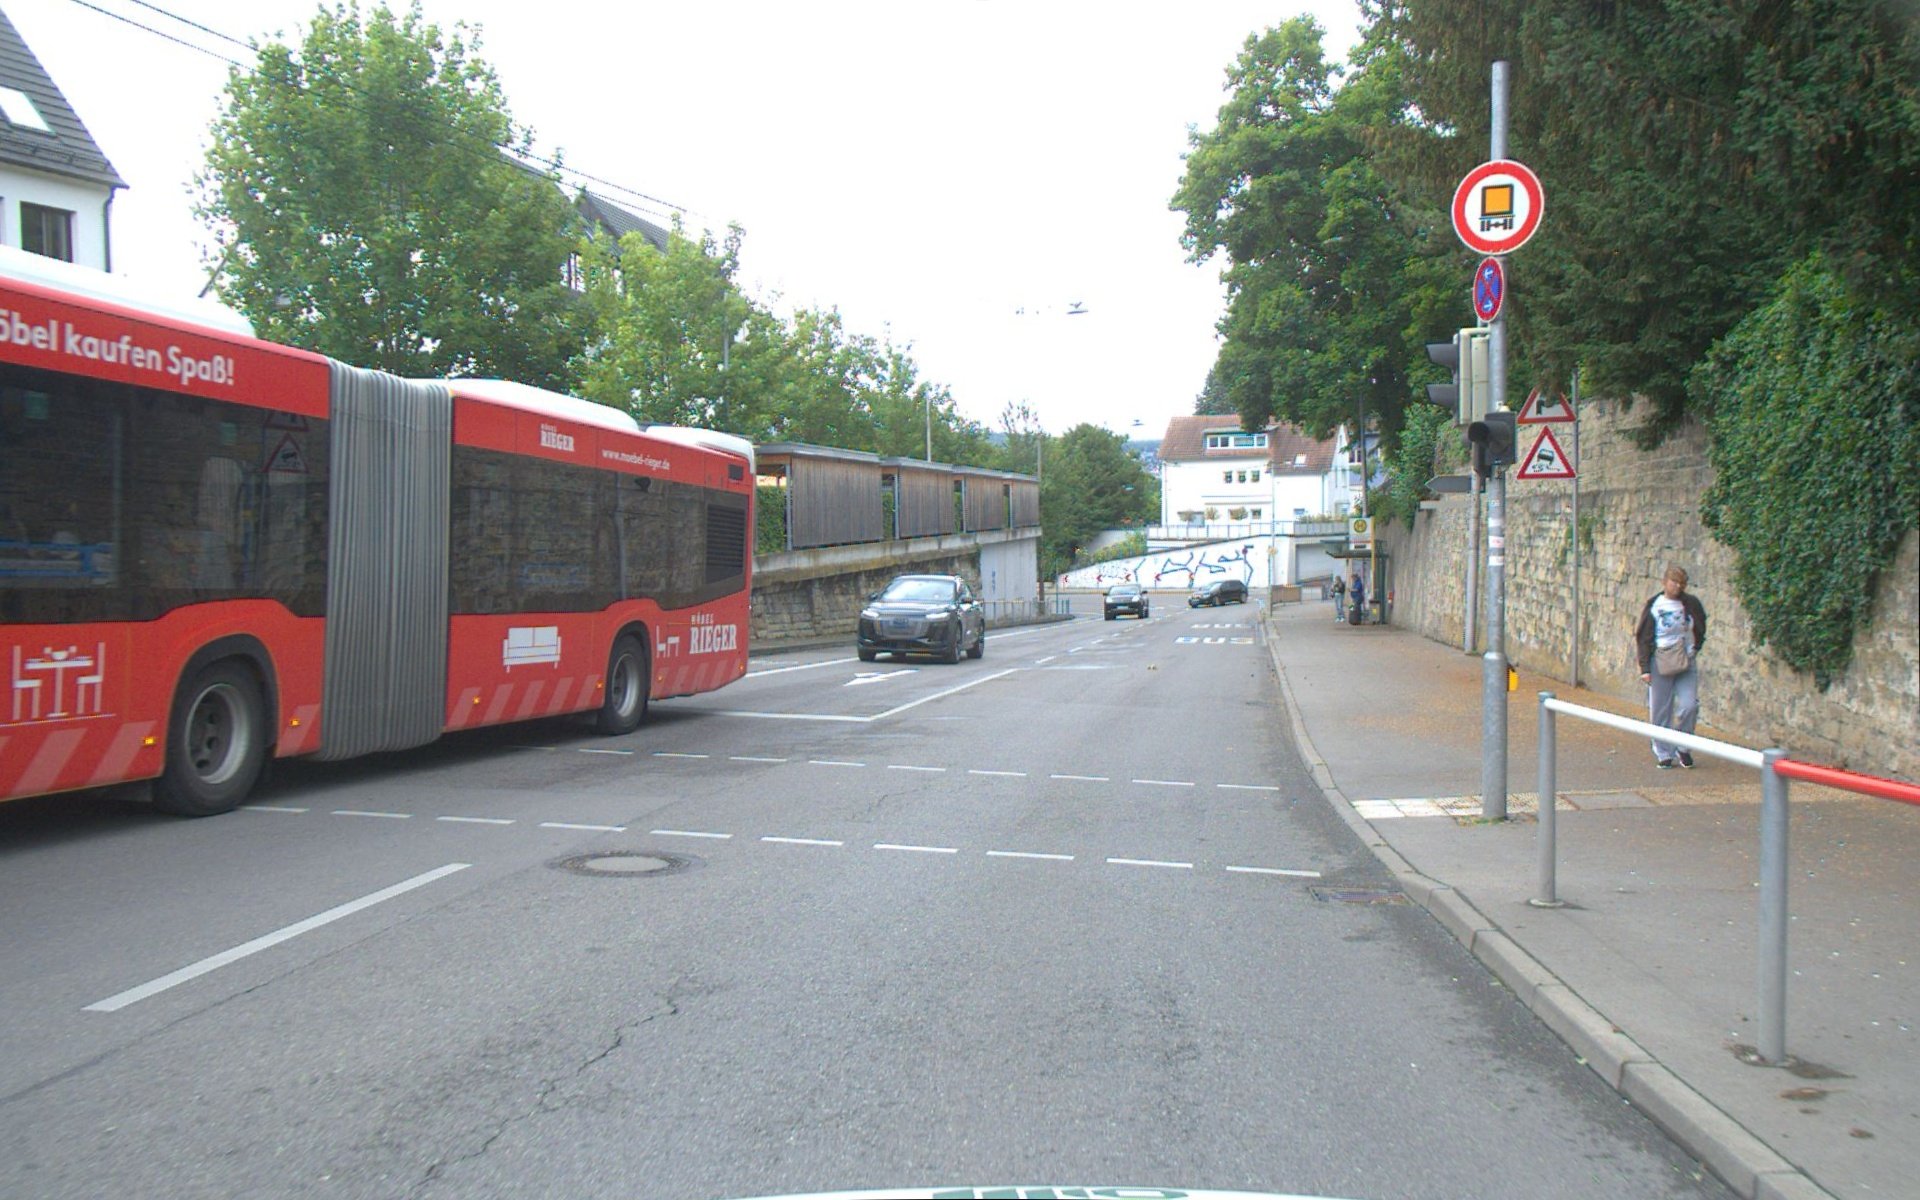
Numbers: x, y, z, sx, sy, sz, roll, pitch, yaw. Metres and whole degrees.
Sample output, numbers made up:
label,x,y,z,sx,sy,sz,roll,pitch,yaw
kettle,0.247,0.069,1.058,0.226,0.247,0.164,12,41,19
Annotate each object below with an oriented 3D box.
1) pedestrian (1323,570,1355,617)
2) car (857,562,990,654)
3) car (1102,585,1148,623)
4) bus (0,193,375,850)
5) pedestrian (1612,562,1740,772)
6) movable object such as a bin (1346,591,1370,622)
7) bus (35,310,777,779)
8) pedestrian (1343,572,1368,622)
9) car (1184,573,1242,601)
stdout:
label,x,y,z,sx,sy,sz,roll,pitch,yaw
pedestrian,13.336,-0.233,58.208,0.765,1.615,0.727,-3,1,-38
car,-0.639,0.165,32.977,1.881,1.658,4.526,2,0,8
car,8.034,0.192,80.176,1.853,1.787,4.441,-1,0,10
bus,-6.289,-0.408,6.534,2.601,3.176,10.027,2,0,12
pedestrian,5.701,0.518,13.204,0.715,1.603,0.744,-2,0,7
movable object such as a bin,13.270,0.212,55.172,0.660,1.038,0.627,-1,1,5
bus,-4.363,-0.419,15.537,2.601,3.176,8.299,2,0,13
pedestrian,13.352,-0.116,55.841,0.705,1.671,0.631,-1,0,6
car,14.606,-0.739,95.395,1.705,1.559,3.986,-1,0,35
